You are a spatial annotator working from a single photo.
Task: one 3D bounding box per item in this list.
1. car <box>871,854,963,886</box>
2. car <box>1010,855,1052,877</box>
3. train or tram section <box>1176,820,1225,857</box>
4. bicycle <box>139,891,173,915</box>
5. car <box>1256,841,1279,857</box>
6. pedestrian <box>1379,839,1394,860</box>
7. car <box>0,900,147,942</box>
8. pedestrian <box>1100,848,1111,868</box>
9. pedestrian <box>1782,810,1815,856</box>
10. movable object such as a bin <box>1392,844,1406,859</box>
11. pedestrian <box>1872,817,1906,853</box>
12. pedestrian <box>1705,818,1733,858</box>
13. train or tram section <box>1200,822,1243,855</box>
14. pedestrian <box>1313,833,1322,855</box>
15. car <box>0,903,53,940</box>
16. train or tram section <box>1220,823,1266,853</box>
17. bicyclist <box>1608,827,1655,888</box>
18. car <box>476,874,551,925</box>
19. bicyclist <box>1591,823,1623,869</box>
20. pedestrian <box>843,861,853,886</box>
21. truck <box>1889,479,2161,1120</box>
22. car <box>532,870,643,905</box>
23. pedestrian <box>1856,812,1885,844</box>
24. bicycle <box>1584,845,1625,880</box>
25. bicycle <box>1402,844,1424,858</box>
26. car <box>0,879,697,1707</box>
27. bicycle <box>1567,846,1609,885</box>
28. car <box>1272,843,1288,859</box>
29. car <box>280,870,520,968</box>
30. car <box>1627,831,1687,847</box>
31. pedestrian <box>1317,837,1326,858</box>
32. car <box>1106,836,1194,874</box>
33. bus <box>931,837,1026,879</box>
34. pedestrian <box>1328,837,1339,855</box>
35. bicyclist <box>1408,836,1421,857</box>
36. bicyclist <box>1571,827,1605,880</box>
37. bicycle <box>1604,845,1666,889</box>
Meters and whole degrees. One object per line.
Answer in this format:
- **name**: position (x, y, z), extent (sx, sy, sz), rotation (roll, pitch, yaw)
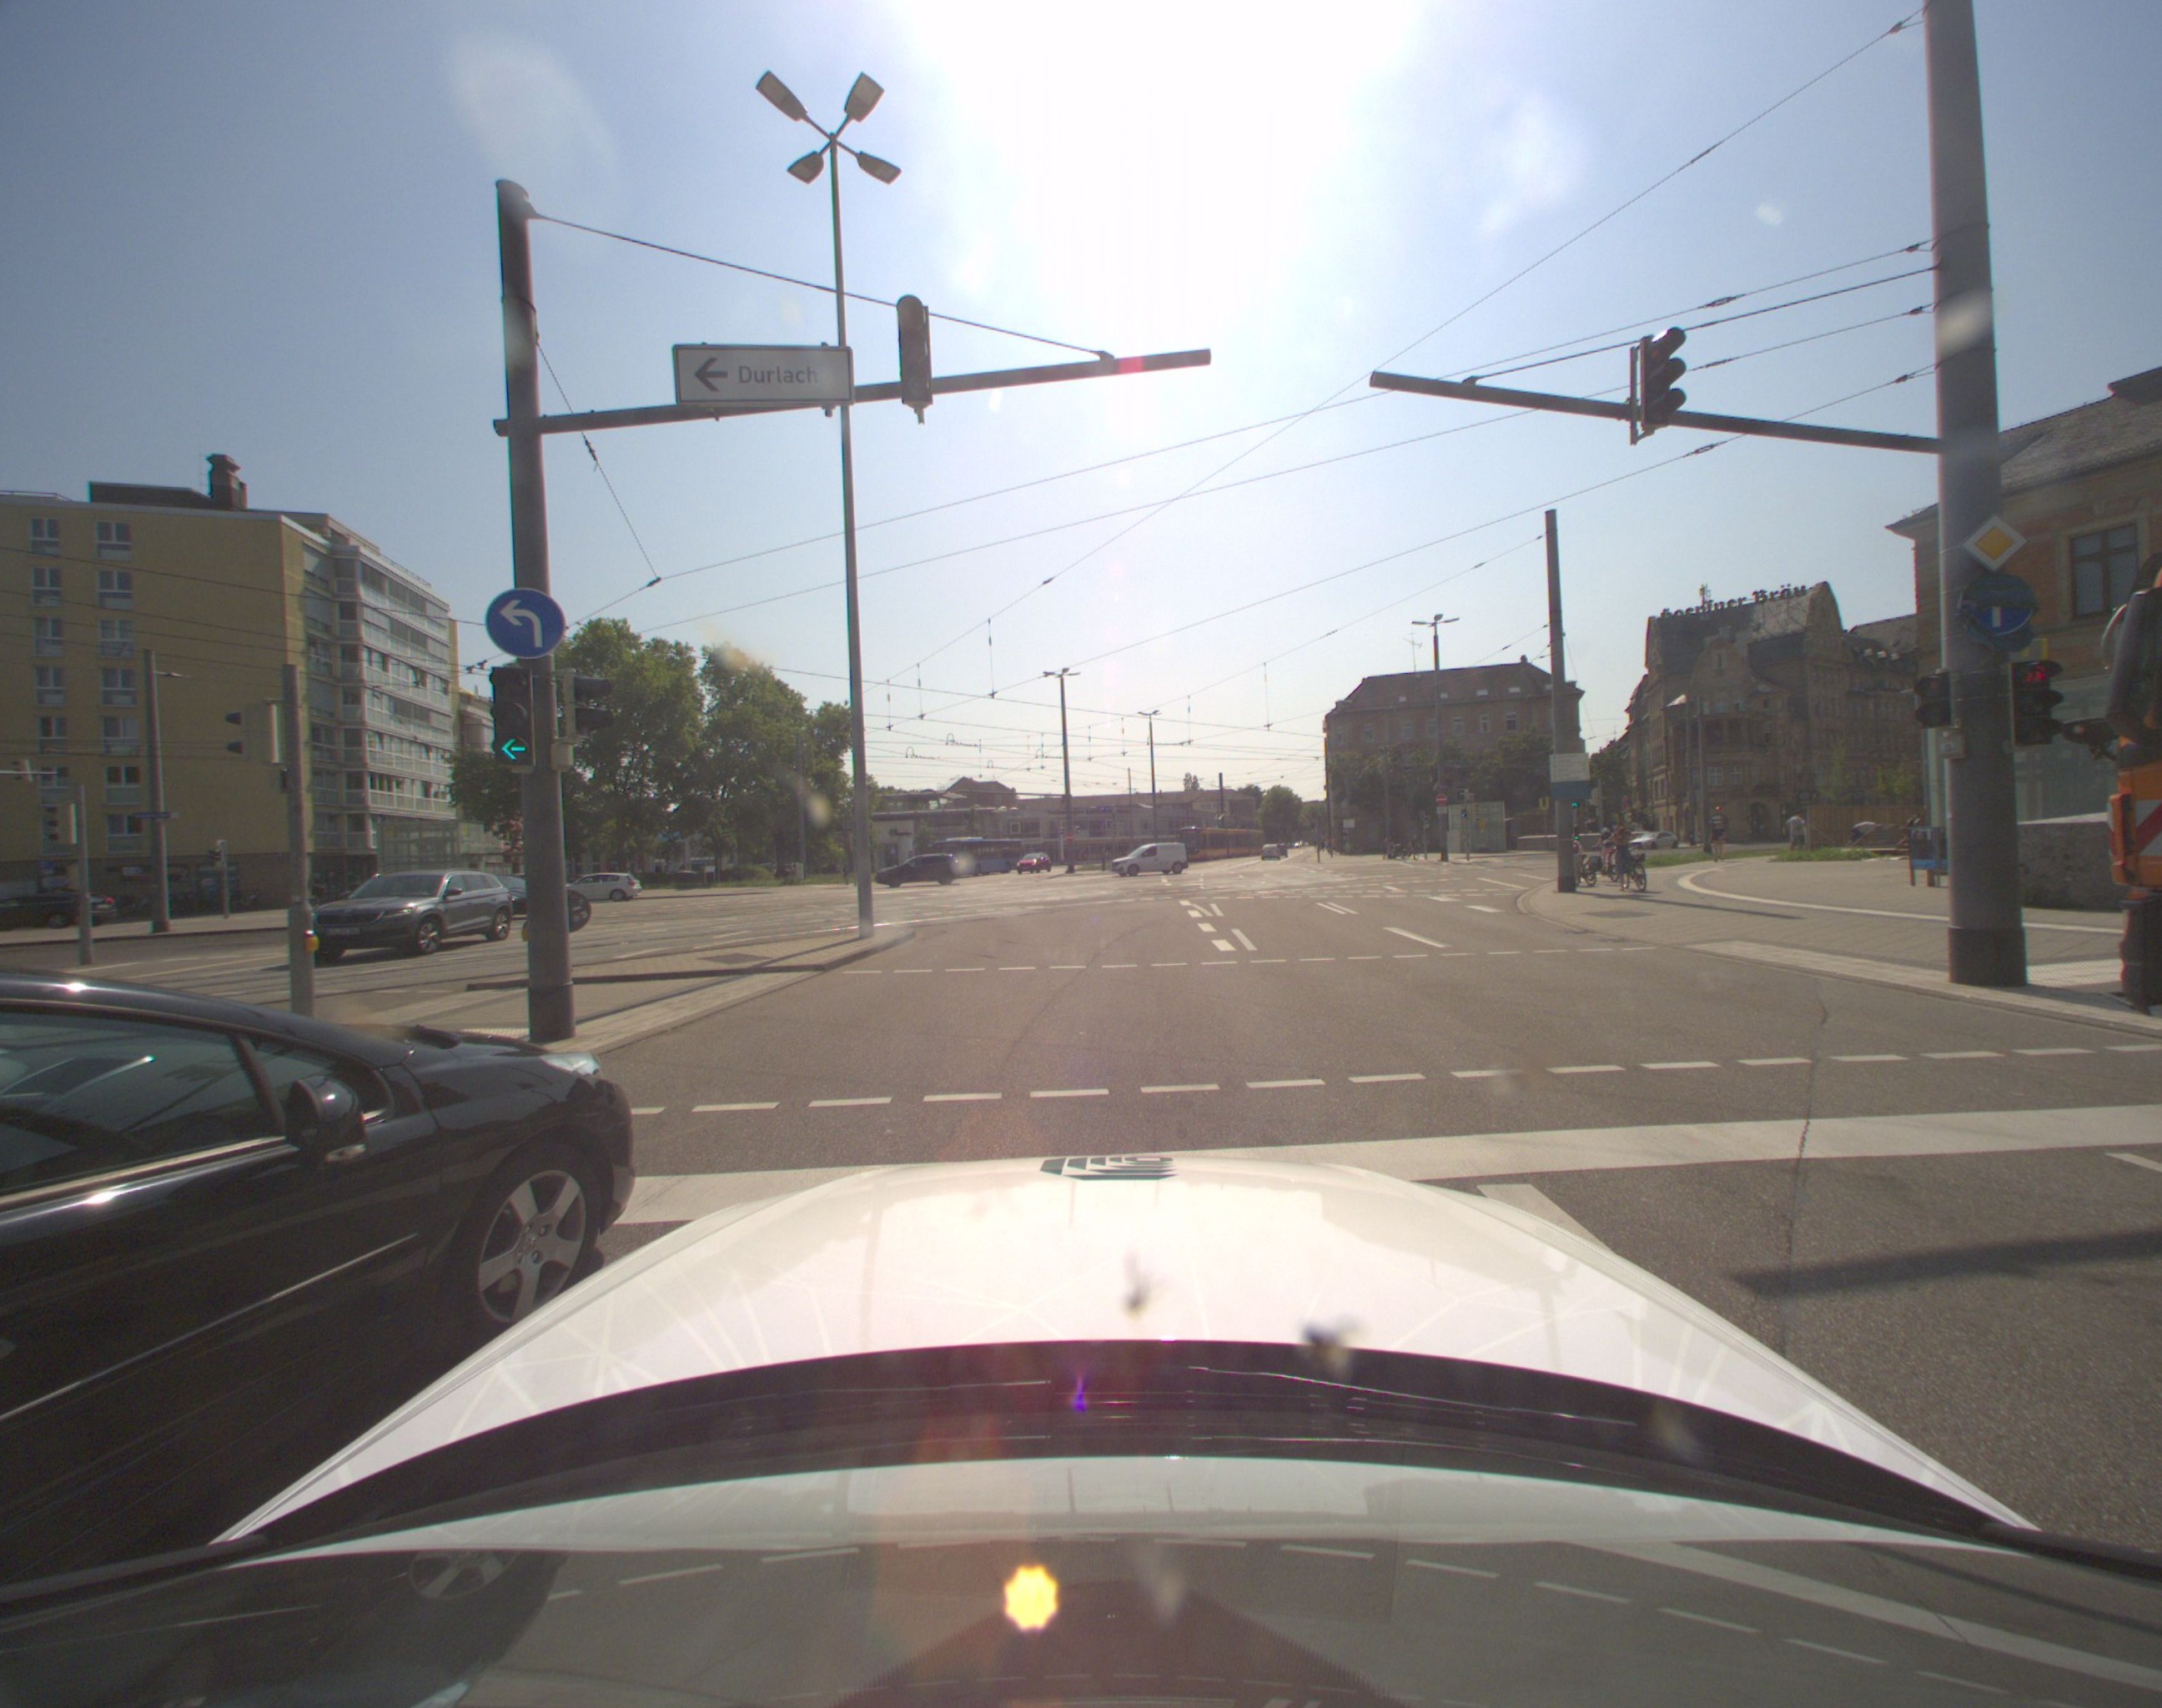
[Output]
- **car**: position (-8.884, 0.844, 44.111), extent (4.624, 1.505, 1.987), rotation (-2, 0, -19)
- **car**: position (-3.844, 0.945, 63.599), extent (1.735, 1.552, 4.020), rotation (-3, 0, 20)
- **train or tram section**: position (12.447, -1.572, 83.682), extent (2.566, 3.516, 10.955), rotation (-2, 0, 21)
- **bicycle**: position (-50.382, 2.685, 44.355), extent (3.220, 1.204, 0.916), rotation (-3, 0, 36)
- **car**: position (17.755, -0.438, 77.811), extent (1.760, 1.415, 4.199), rotation (-2, 0, 9)
- **pedestrian**: position (23.302, -0.350, 62.151), extent (0.849, 1.545, 0.527), rotation (-2, 0, -6)
- **car**: position (-41.880, 2.741, 33.149), extent (4.766, 1.415, 1.765), rotation (-2, 0, -18)
- **pedestrian**: position (1.763, 0.295, 58.887), extent (0.678, 1.443, 0.364), rotation (-2, 0, -15)
- **pedestrian**: position (27.153, -0.790, 30.815), extent (0.549, 1.724, 0.812), rotation (-2, 0, -39)
- **movable object such as a bin**: position (24.116, -0.166, 61.800), extent (0.812, 1.077, 0.510), rotation (-2, 0, -9)
- **pedestrian**: position (31.884, -0.744, 32.123), extent (0.768, 1.399, 0.687), rotation (-2, 0, -23)
- **pedestrian**: position (25.941, -0.658, 33.117), extent (0.794, 1.575, 0.729), rotation (-2, 0, -44)
- **train or tram section**: position (16.191, -1.788, 93.302), extent (2.565, 3.516, 9.713), rotation (-2, 0, 23)
- **pedestrian**: position (33.820, -1.396, 116.253), extent (0.978, 3.017, 0.977), rotation (-2, 0, 7)
- **car**: position (-48.627, 3.083, 37.227), extent (3.948, 1.508, 1.759), rotation (-2, 0, 35)
- **train or tram section**: position (20.770, -1.984, 103.668), extent (2.565, 3.516, 13.047), rotation (-2, 0, 25)
- **bicyclist**: position (14.088, 0.093, 20.855), extent (0.730, 1.517, 0.665), rotation (-2, 0, 6)
- **car**: position (-19.818, 1.542, 28.385), extent (1.748, 1.560, 4.159), rotation (-2, 0, -40)
- **bicyclist**: position (16.246, -0.252, 25.155), extent (0.526, 1.393, 0.897), rotation (-2, 0, 14)
- **pedestrian**: position (-15.657, 1.294, 54.772), extent (0.554, 1.684, 0.451), rotation (-2, 0, -17)
- **truck**: position (6.387, -0.290, 1.882), extent (2.481, 3.134, 6.869), rotation (-2, 0, 4)
- **car**: position (-23.680, 1.567, 39.245), extent (4.199, 1.415, 1.765), rotation (-2, 0, -18)
- **pedestrian**: position (30.306, -0.988, 31.265), extent (0.658, 1.214, 0.531), rotation (-2, 0, 30)
- **bicycle**: position (16.366, 0.258, 25.490), extent (0.532, 1.055, 1.660), rotation (-2, 0, 14)
- **bicycle**: position (24.388, -0.212, 59.834), extent (0.470, 1.055, 1.643), rotation (-2, 0, -18)
- **car**: position (-2.669, 0.814, 1.566), extent (1.757, 1.388, 3.787), rotation (-1, 0, 6)
- **bicycle**: position (14.708, 0.317, 23.667), extent (0.532, 1.055, 1.660), rotation (-2, 0, 14)
- **car**: position (21.590, -0.315, 88.264), extent (1.625, 1.618, 4.016), rotation (-2, 0, 14)
- **car**: position (-13.533, 1.179, 16.614), extent (1.767, 1.600, 4.525), rotation (-2, 0, -12)
- **car**: position (44.629, -1.145, 63.102), extent (4.005, 1.090, 1.984), rotation (-2, 0, -24)
- **pedestrian**: position (35.164, -0.945, 118.918), extent (0.979, 3.017, 0.976), rotation (-2, 0, 4)
- **car**: position (4.015, 0.064, 47.497), extent (4.624, 2.013, 1.988), rotation (-2, 0, -18)
- **bus**: position (-8.131, 0.211, 66.984), extent (2.541, 3.082, 12.082), rotation (-3, 0, 19)
- **pedestrian**: position (22.338, -0.693, 72.151), extent (0.699, 1.603, 0.572), rotation (-2, 0, -6)
- **bicyclist**: position (24.446, -0.573, 59.659), extent (0.614, 1.528, 0.517), rotation (-2, 0, -22)
- **bicyclist**: position (14.768, -0.011, 23.739), extent (0.623, 1.517, 0.715), rotation (-2, 0, 14)
- **bicycle**: position (14.097, 0.311, 20.762), extent (0.489, 1.055, 1.826), rotation (-2, 0, 7)
